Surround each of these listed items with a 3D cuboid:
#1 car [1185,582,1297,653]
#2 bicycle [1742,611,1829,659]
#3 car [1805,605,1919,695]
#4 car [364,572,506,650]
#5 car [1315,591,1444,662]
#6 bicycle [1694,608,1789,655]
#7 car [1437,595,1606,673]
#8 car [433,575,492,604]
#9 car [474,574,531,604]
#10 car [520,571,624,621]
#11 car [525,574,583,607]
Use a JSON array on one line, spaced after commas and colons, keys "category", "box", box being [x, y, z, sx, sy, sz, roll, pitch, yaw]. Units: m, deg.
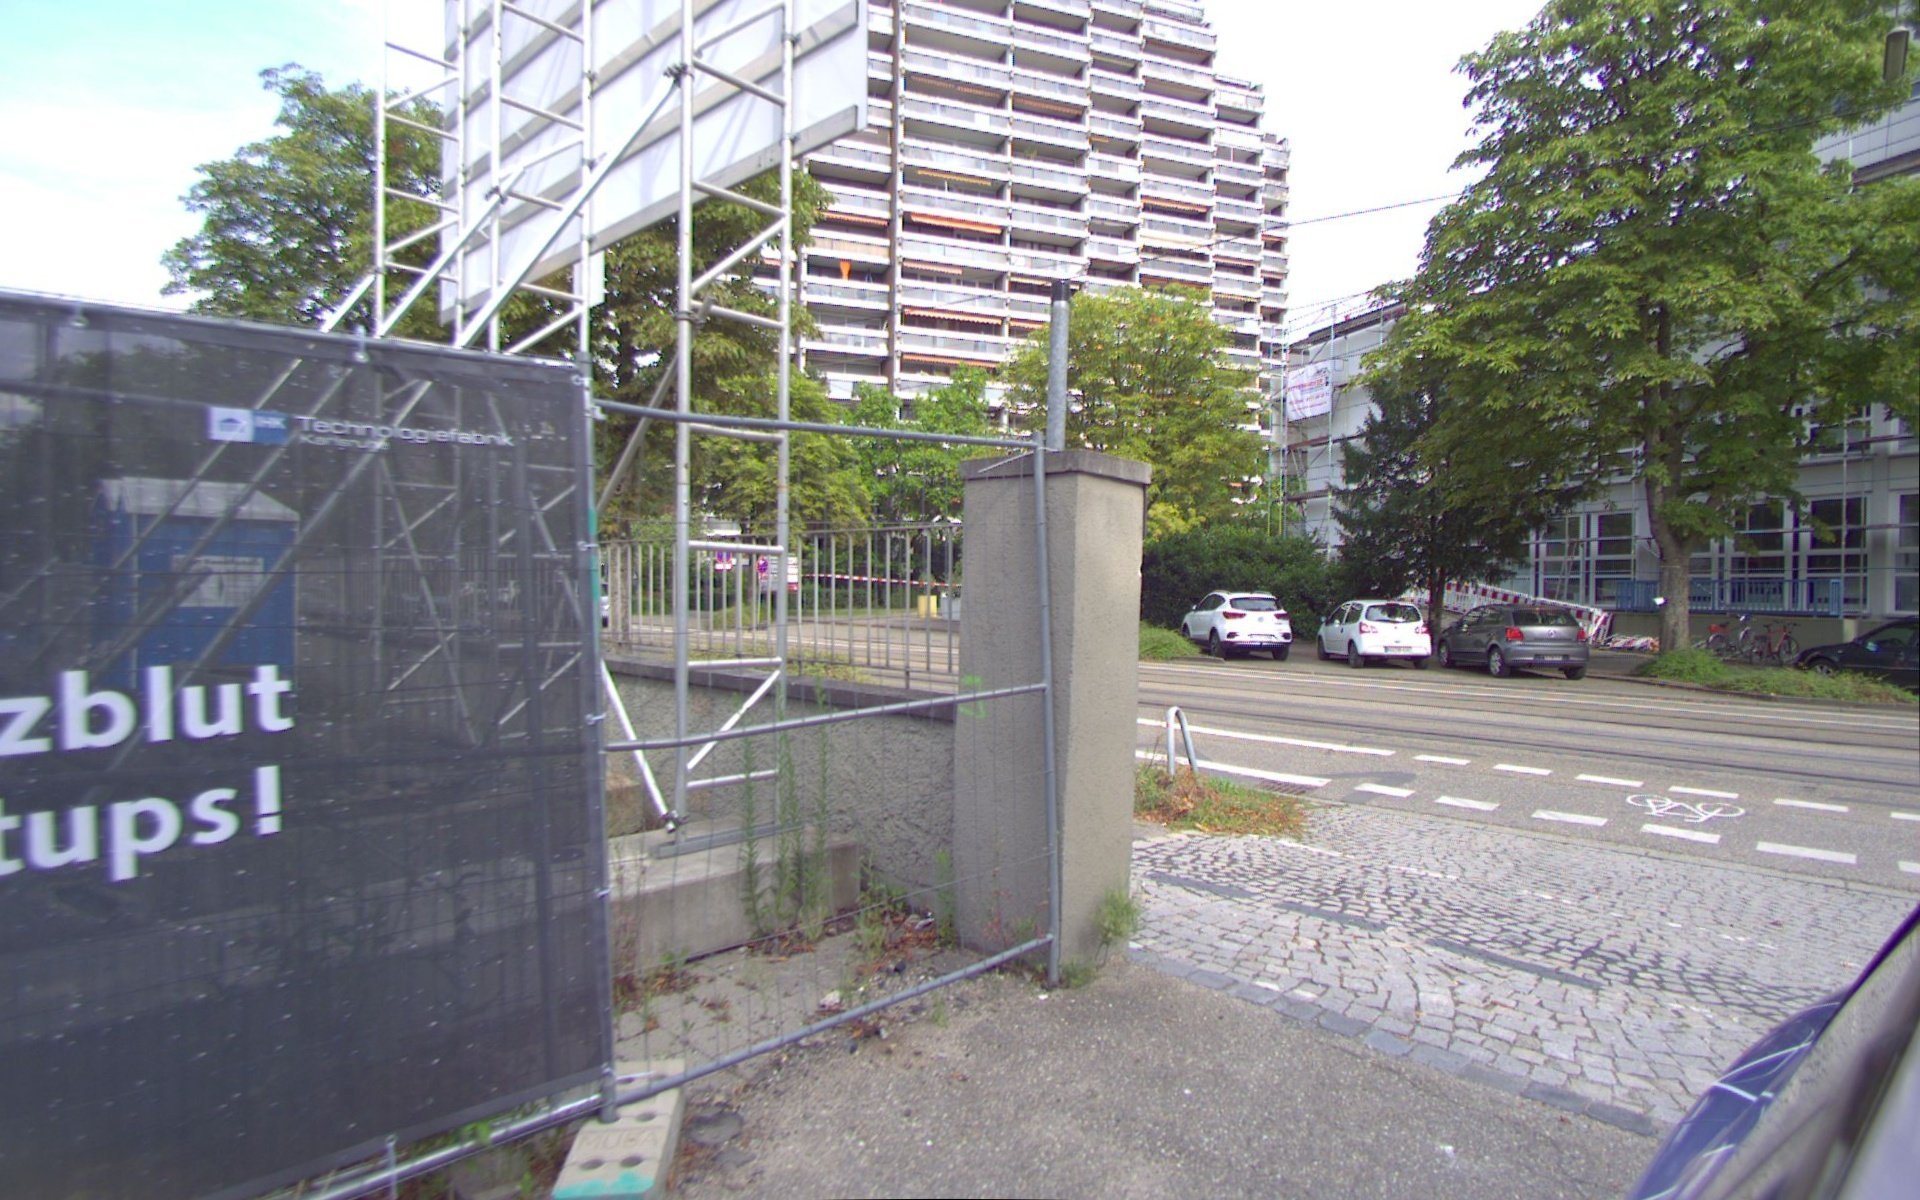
[{"category": "car", "box": [6.880, 0.378, 25.129, 1.649, 1.622, 3.648, 0, 0, -2]}, {"category": "bicycle", "box": [18.909, 0.793, 23.184, 1.936, 1.056, 0.596, 1, 0, -19]}, {"category": "car", "box": [16.384, 0.828, 16.310, 1.780, 1.433, 4.175, 0, 1, -6]}, {"category": "car", "box": [-10.718, 0.168, 20.536, 1.569, 1.420, 3.954, 1, 0, -43]}, {"category": "car", "box": [9.480, 0.538, 23.152, 1.652, 1.493, 3.643, 0, 0, 4]}, {"category": "bicycle", "box": [18.529, 0.746, 24.008, 1.937, 1.056, 0.595, 1, 0, -9]}, {"category": "car", "box": [11.472, 0.635, 20.951, 1.652, 1.437, 3.643, 0, 0, 4]}, {"category": "car", "box": [-28.253, -0.595, 57.544, 1.649, 1.622, 3.648, 0, 0, -2]}, {"category": "car", "box": [-25.769, -0.610, 57.073, 1.649, 1.622, 3.648, 0, 0, -2]}, {"category": "car", "box": [-14.316, -0.184, 37.208, 4.602, 1.722, 1.789, 2, 1, 44]}, {"category": "car", "box": [-20.924, -0.490, 52.336, 1.649, 1.622, 3.648, 0, 0, -2]}]
